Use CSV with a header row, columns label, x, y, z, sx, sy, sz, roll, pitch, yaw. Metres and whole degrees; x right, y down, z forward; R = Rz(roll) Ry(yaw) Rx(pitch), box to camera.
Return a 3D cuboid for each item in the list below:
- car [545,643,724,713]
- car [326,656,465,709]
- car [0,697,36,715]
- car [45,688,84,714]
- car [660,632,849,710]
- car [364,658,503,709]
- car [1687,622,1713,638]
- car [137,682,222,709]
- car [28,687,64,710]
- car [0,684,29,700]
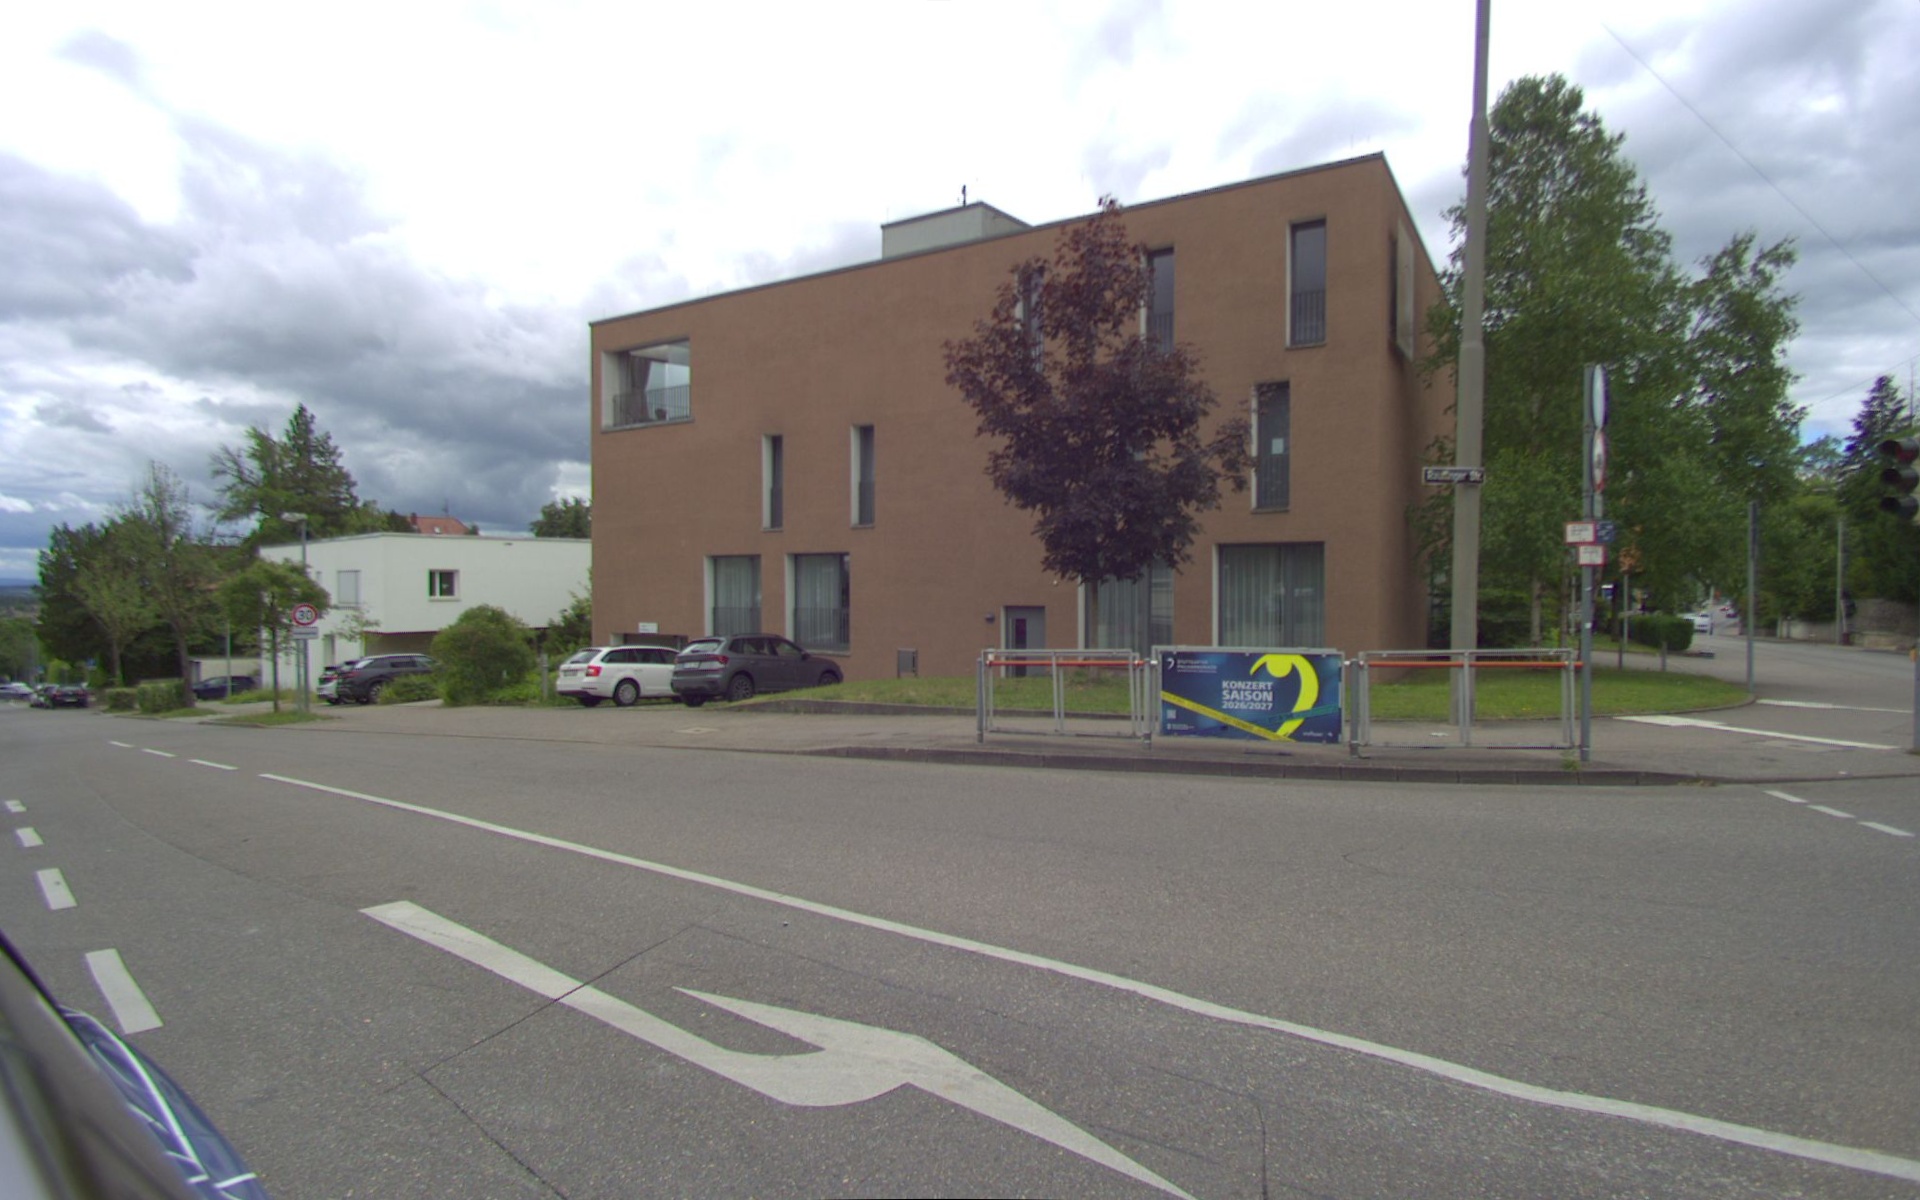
label,x,y,z,sx,sy,sz,roll,pitch,yaw
car,-7.992,1.900,25.114,1.724,1.497,3.950,-5,-4,37
car,-19.973,2.893,35.928,1.793,1.608,3.943,-6,-4,43
car,-82.697,9.158,87.179,4.300,1.432,1.887,-1,-2,-6
car,-54.934,6.161,62.061,1.638,1.432,4.003,0,-4,-44
car,-4.473,1.542,22.498,1.724,1.497,3.950,-5,-4,37
car,-18.230,2.873,35.143,1.727,1.497,3.943,-6,-4,43
car,80.848,3.226,110.593,1.807,1.724,3.993,-1,-2,31
car,-46.971,5.729,60.927,3.939,1.296,1.665,0,-4,-43
car,-61.556,6.619,68.139,1.638,1.432,4.371,0,-4,-44
car,-95.908,9.285,102.343,4.362,1.432,1.861,-3,-3,38
